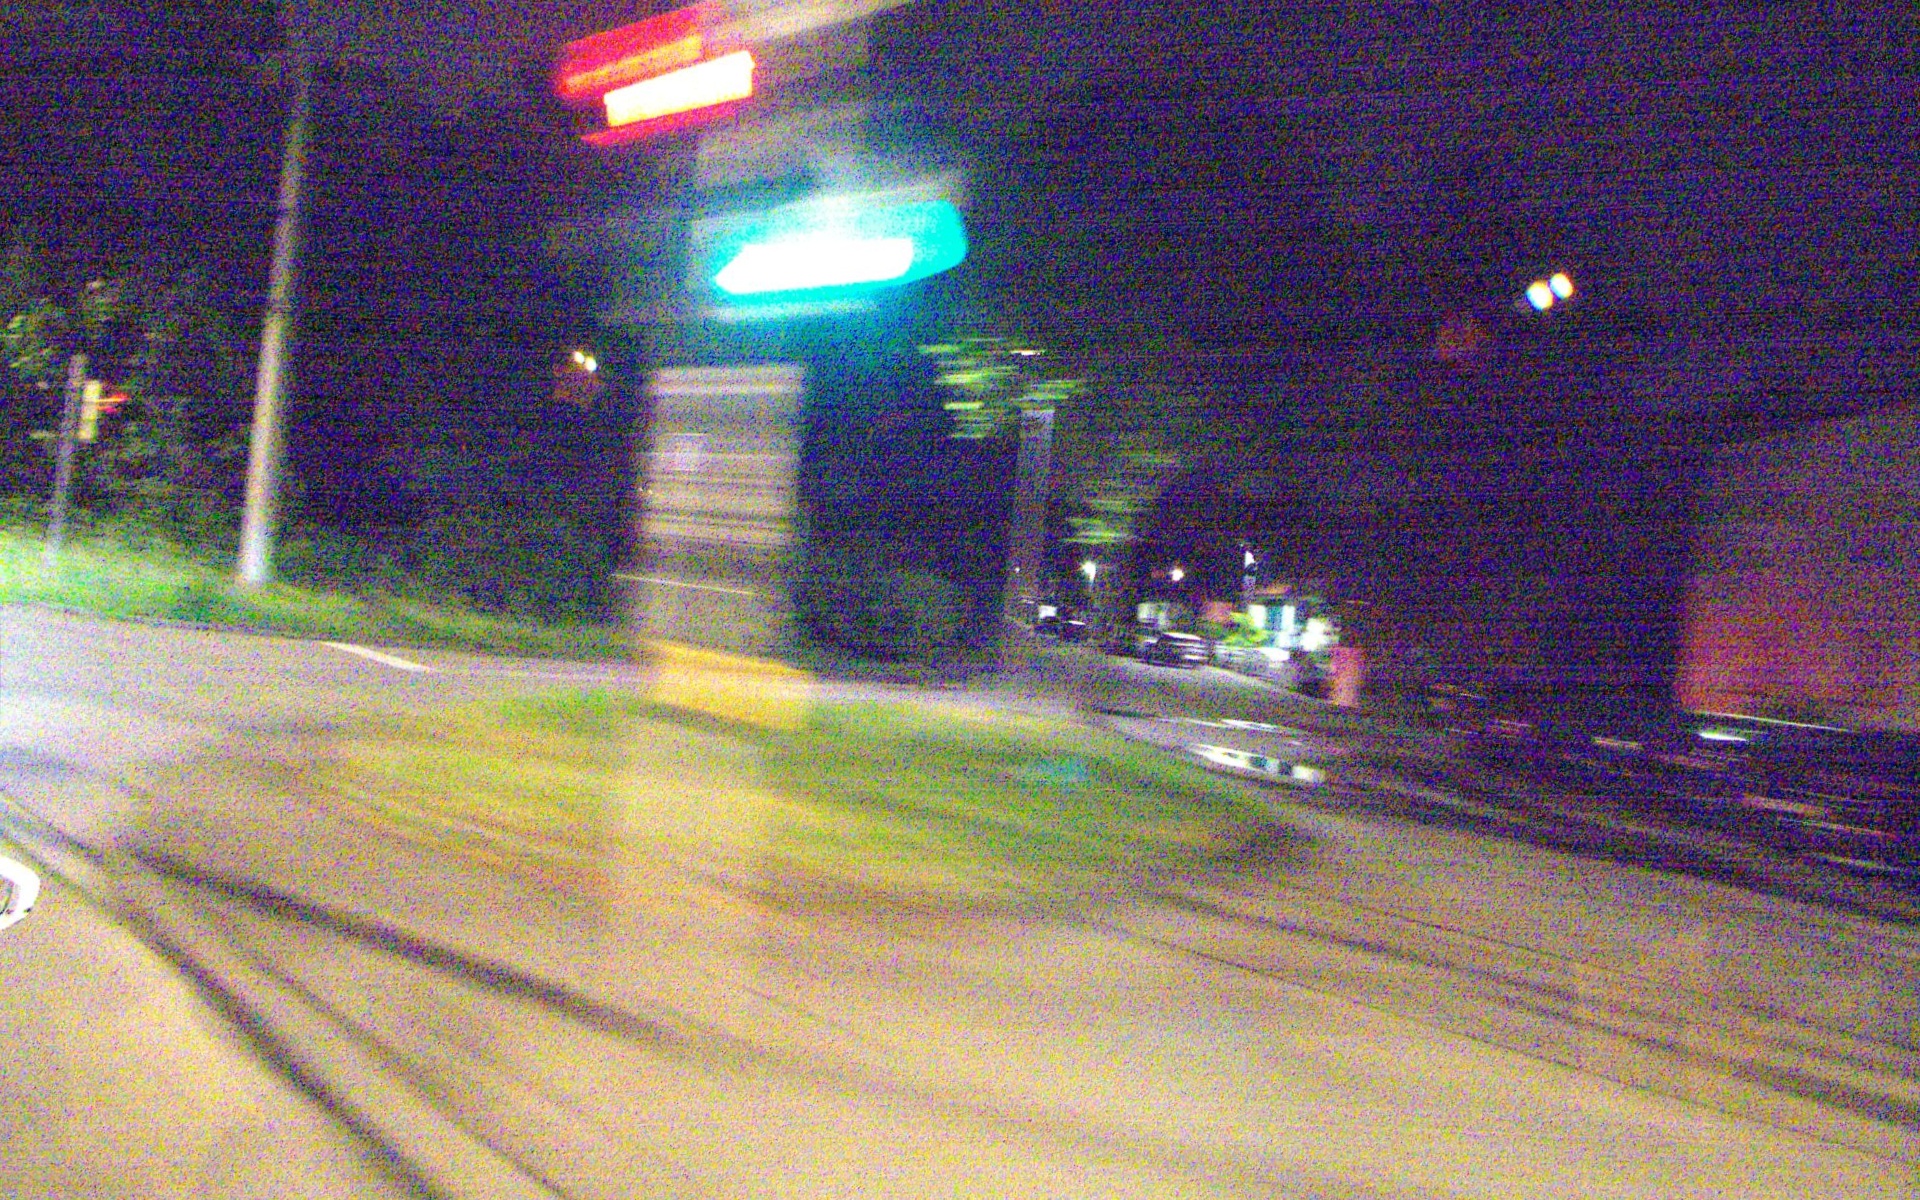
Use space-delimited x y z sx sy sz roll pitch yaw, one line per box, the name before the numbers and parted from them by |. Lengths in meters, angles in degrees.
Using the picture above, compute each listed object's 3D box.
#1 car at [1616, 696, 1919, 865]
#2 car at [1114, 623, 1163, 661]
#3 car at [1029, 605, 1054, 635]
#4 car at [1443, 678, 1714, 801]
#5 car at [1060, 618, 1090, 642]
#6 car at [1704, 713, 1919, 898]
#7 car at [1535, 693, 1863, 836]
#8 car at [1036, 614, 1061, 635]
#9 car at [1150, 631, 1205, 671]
car | 11.491 2.440 13.508 4.023 1.635 1.813 8 -1 0
car | 9.903 2.309 56.034 1.839 1.717 4.176 7 0 1
car | 7.611 1.866 93.949 1.649 2.512 4.749 7 0 0
car | 11.409 2.552 18.757 3.799 1.563 1.762 8 0 0
car | 8.768 2.269 77.088 1.650 1.553 3.869 7 0 0
car | 11.060 2.386 10.949 4.330 1.583 1.924 8 -1 0
car | 11.690 2.577 16.109 3.799 1.533 1.762 8 0 0
car | 7.736 2.120 88.137 1.650 1.553 3.869 7 0 0
car | 10.560 2.459 49.108 1.730 1.563 3.870 7 0 1
